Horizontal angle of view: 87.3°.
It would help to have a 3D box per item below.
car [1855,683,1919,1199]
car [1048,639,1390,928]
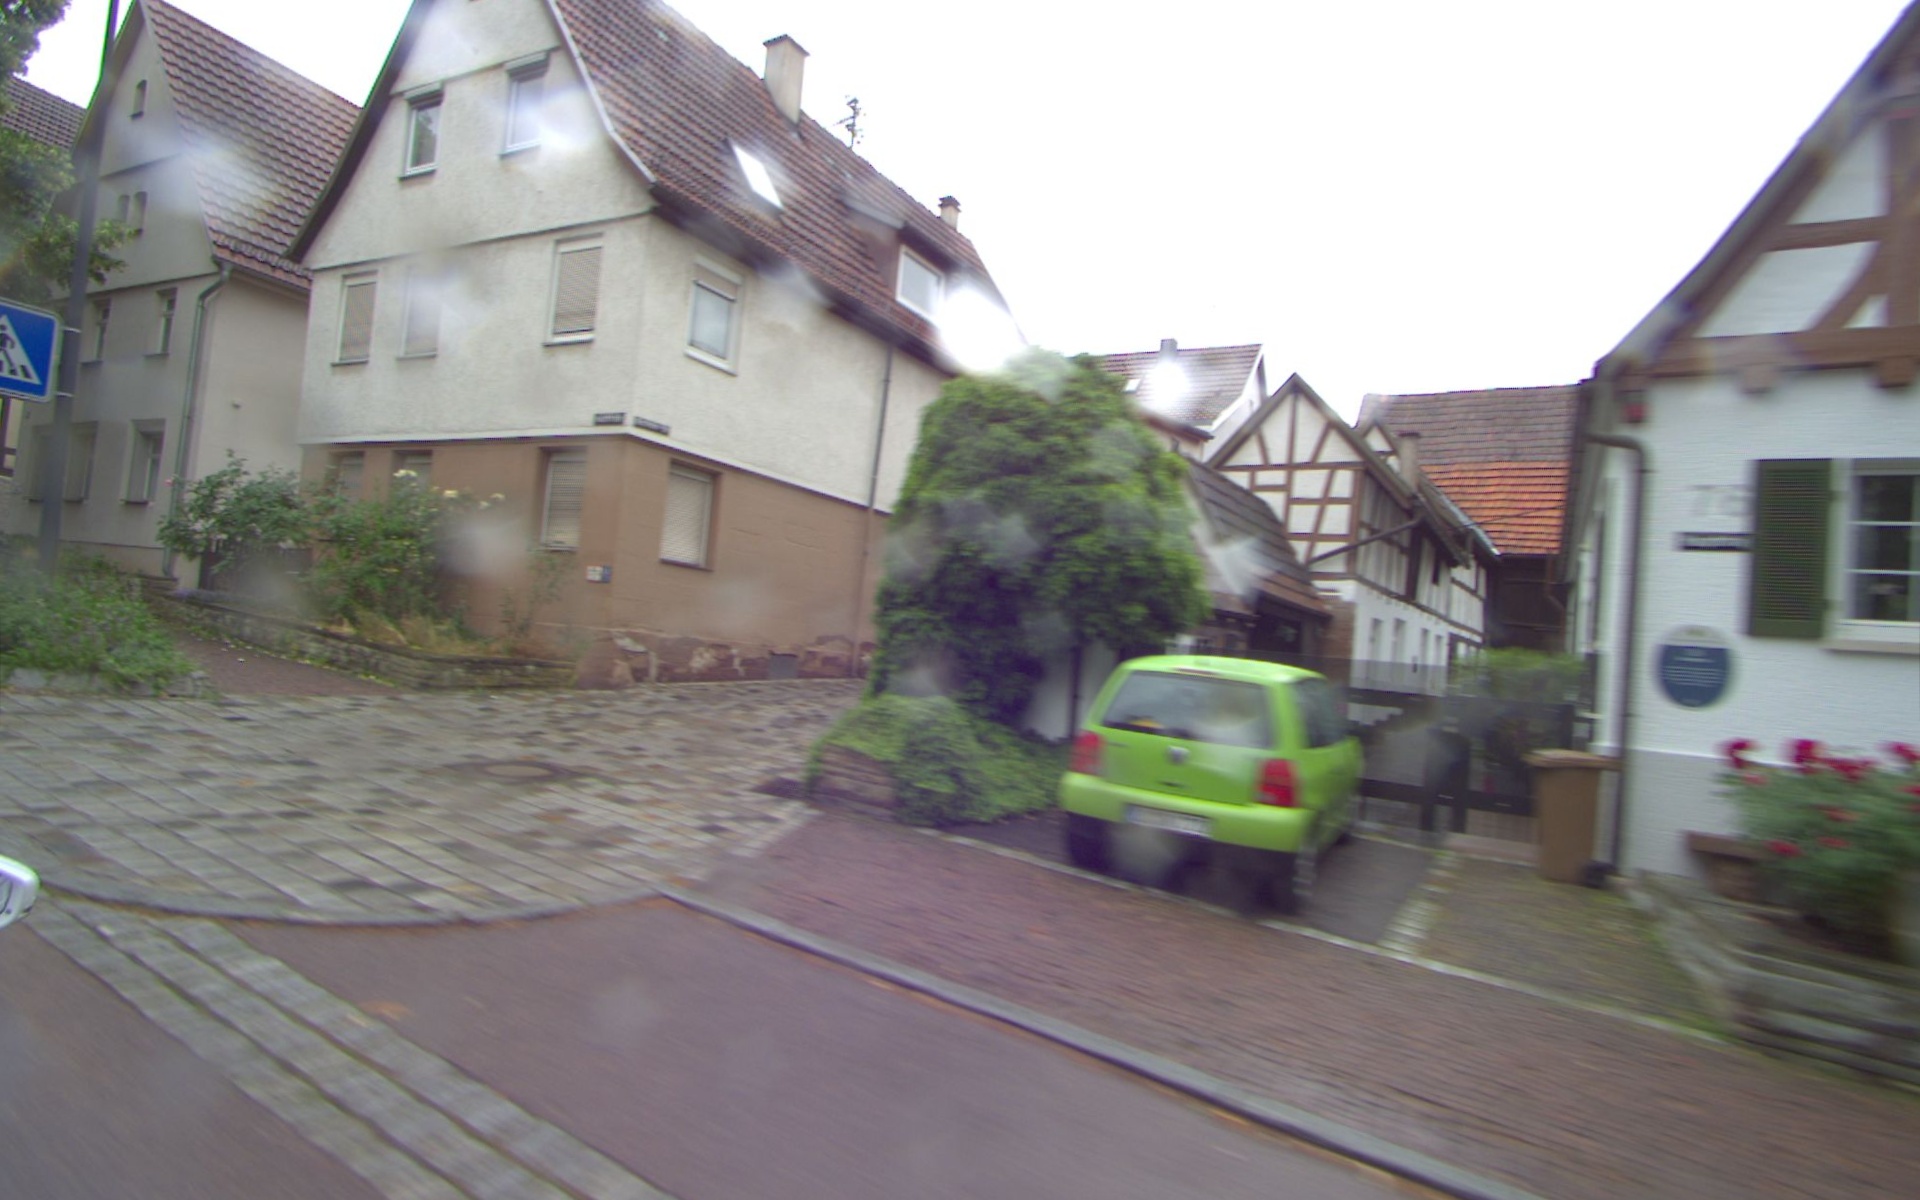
[{"bbox_3d":[3.890,1.136,0.743,4.413,1.813,1.919,7,-2,31],"label":"car"},{"bbox_3d":[2.125,1.170,7.538,1.602,1.448,3.372,7,-1,28],"label":"car"}]
